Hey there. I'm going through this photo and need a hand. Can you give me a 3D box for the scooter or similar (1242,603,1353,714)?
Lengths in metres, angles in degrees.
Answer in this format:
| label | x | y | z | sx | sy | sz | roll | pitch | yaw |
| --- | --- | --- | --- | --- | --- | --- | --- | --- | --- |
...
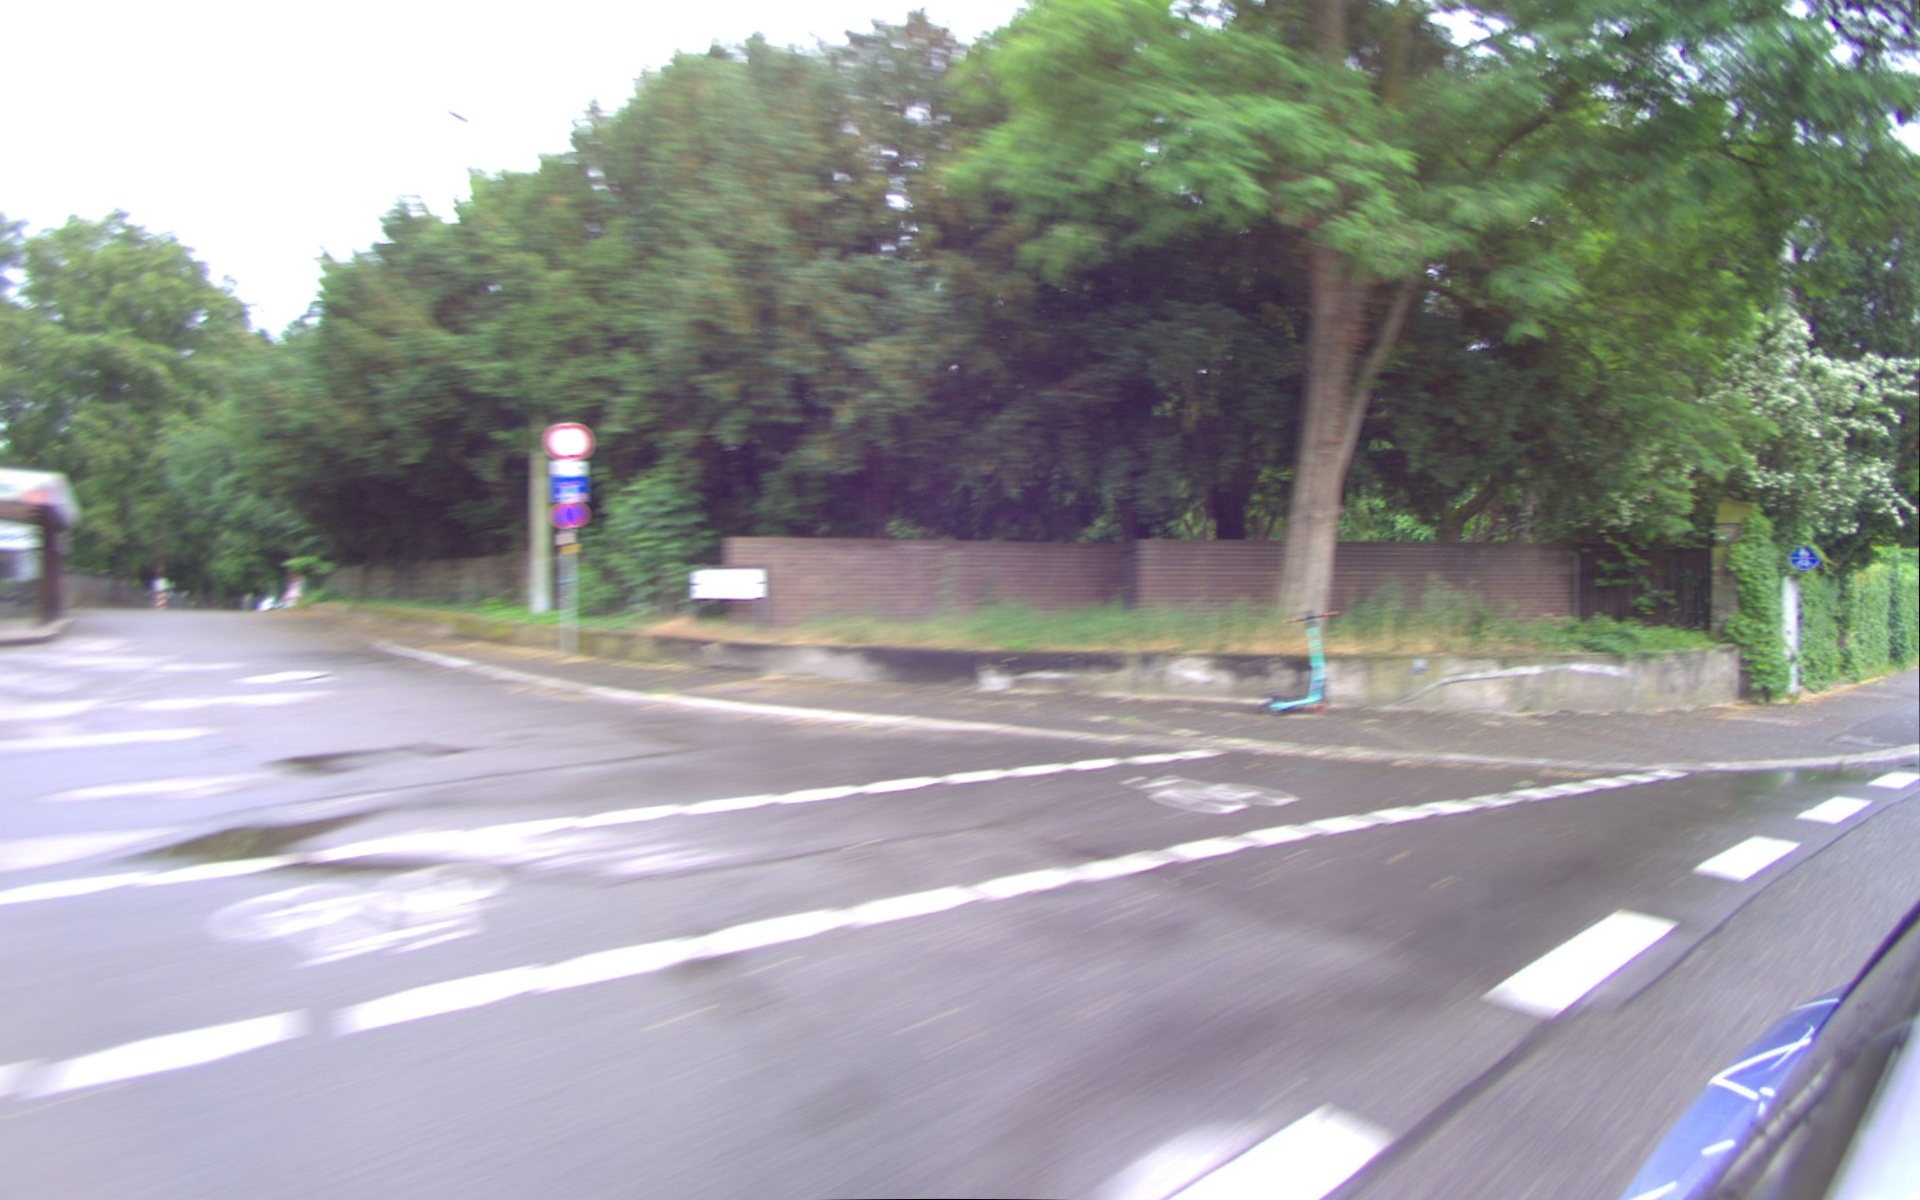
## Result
| label | x | y | z | sx | sy | sz | roll | pitch | yaw |
| --- | --- | --- | --- | --- | --- | --- | --- | --- | --- |
| scooter or similar | 4.060 | 0.673 | 12.160 | 1.289 | 1.245 | 0.516 | 0 | 3 | -34 |
